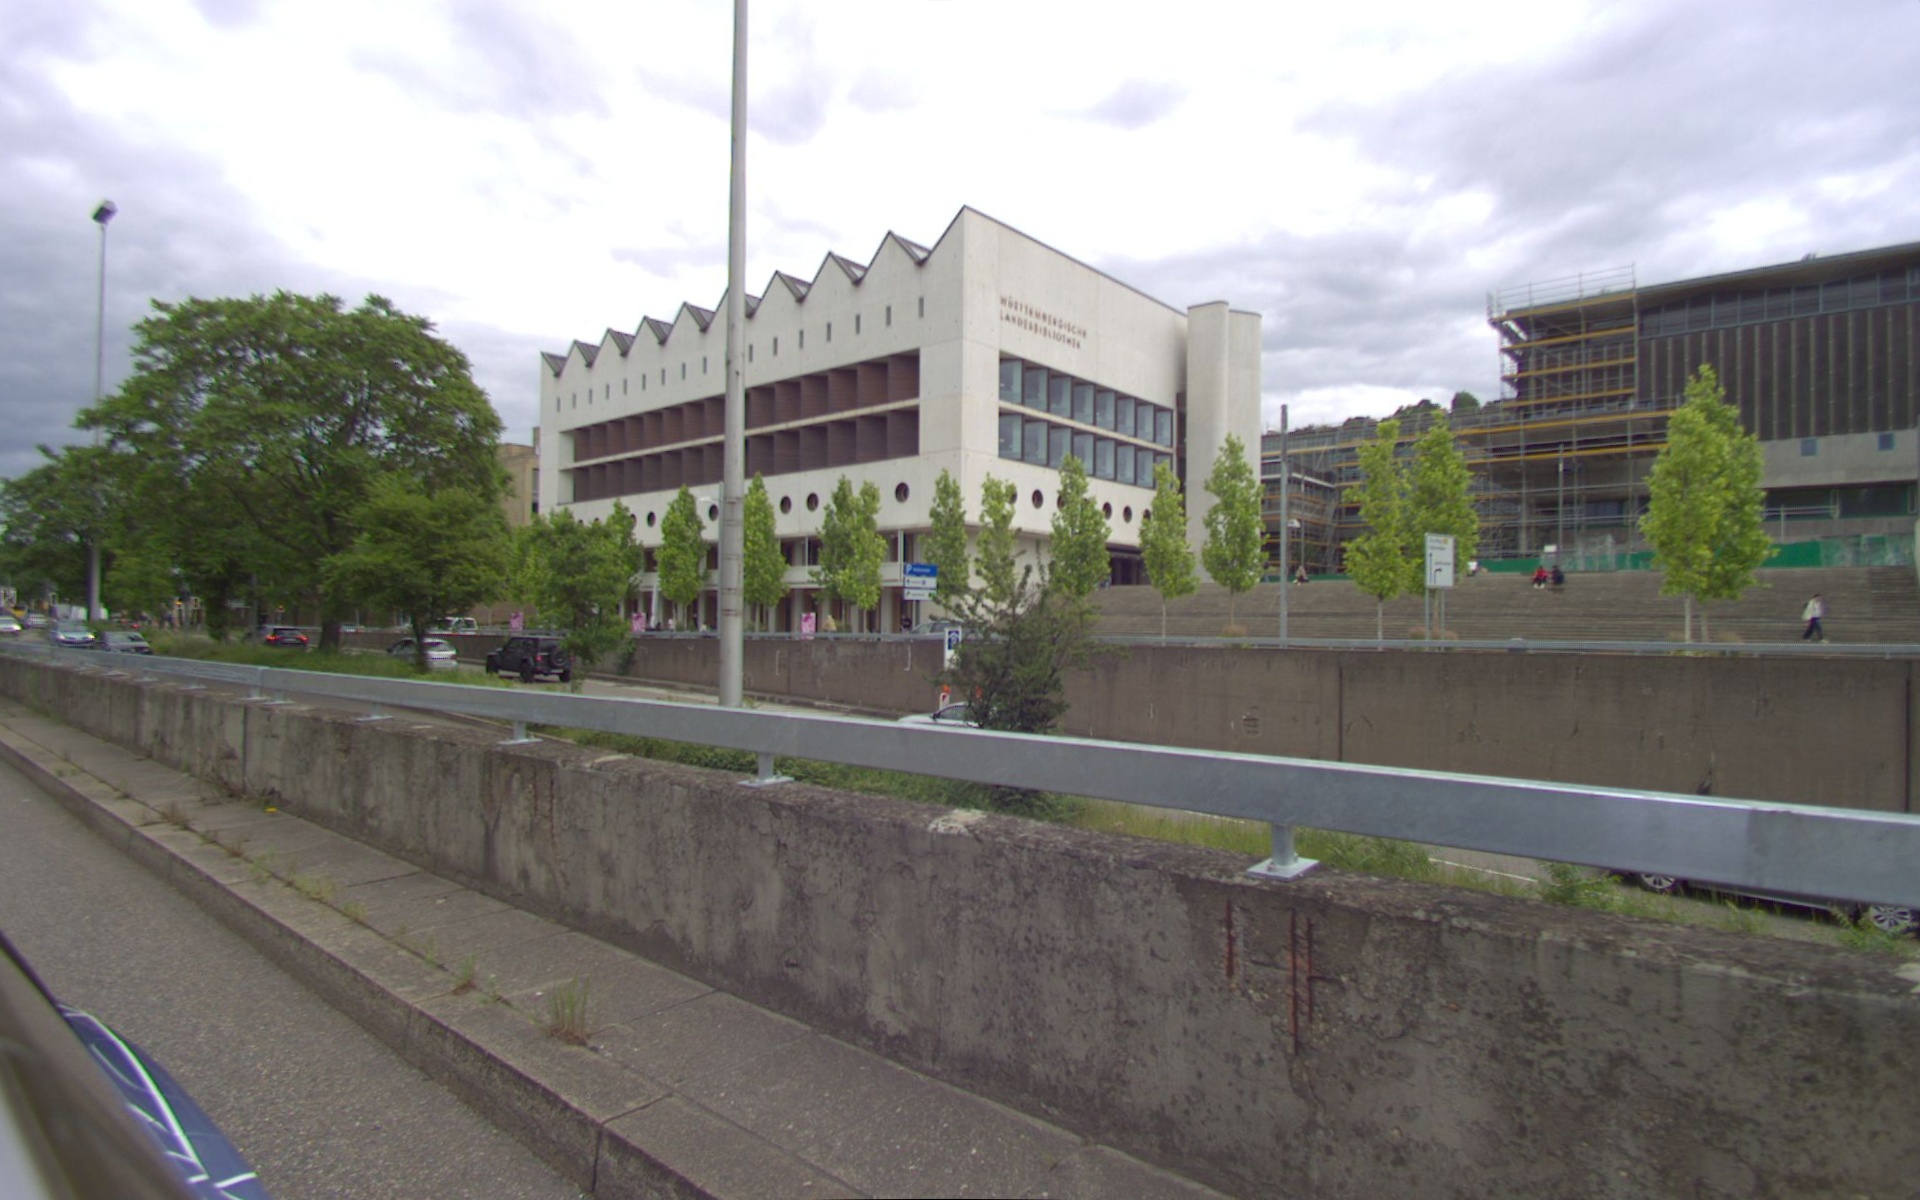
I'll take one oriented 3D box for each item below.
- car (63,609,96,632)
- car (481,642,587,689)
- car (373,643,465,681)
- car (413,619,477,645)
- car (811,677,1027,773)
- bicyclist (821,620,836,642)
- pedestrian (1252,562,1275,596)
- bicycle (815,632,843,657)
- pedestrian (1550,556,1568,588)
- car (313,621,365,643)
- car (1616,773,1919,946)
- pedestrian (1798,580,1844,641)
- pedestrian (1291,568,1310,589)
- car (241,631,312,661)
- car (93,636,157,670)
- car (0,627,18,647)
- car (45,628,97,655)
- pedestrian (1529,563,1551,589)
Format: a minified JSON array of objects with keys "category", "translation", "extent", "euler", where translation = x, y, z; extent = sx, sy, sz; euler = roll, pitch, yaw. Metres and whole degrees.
[{"category":"car","translation":[-74.053,1.688,85.107],"extent":[3.999,1.868,1.588],"euler":[0,1,42]},{"category":"car","translation":[-17.719,2.693,42.003],"extent":[4.514,1.657,2.133],"euler":[1,-3,40]},{"category":"car","translation":[-22.237,2.547,41.566],"extent":[3.998,1.409,1.973],"euler":[-1,-5,41]},{"category":"car","translation":[-32.929,2.012,64.678],"extent":[4.485,1.640,1.931],"euler":[-1,-1,38]},{"category":"car","translation":[-0.959,2.608,21.883],"extent":[4.515,1.687,1.973],"euler":[-1,-5,41]},{"category":"bicyclist","translation":[-6.896,1.619,53.109],"extent":[0.643,1.169,0.398],"euler":[-1,0,39]},{"category":"pedestrian","translation":[18.832,-1.297,62.754],"extent":[1.079,2.029,0.940],"euler":[-1,0,35]},{"category":"bicycle","translation":[-6.896,2.340,53.120],"extent":[1.697,1.282,0.398],"euler":[-1,0,39]},{"category":"pedestrian","translation":[26.923,-1.249,45.516],"extent":[0.623,1.248,0.665],"euler":[-1,22,34]},{"category":"car","translation":[-47.154,2.396,76.797],"extent":[4.485,1.640,1.931],"euler":[-1,-1,38]},{"category":"car","translation":[12.389,3.754,14.865],"extent":[4.388,1.625,1.851],"euler":[3,-1,40]},{"category":"pedestrian","translation":[29.104,0.366,34.223],"extent":[0.729,2.029,0.794],"euler":[-1,-3,-9]},{"category":"pedestrian","translation":[18.226,-1.164,54.153],"extent":[0.767,0.950,0.718],"euler":[2,21,34]},{"category":"car","translation":[-34.691,2.318,51.352],"extent":[3.998,1.409,1.973],"euler":[-1,-5,41]},{"category":"car","translation":[-37.370,2.339,45.256],"extent":[4.089,1.425,1.539],"euler":[-1,-1,40]},{"category":"car","translation":[-72.709,2.800,76.612],"extent":[4.089,1.425,1.635],"euler":[-1,-1,40]},{"category":"car","translation":[-49.139,2.256,55.904],"extent":[4.088,1.425,1.539],"euler":[-1,-1,39]},{"category":"pedestrian","translation":[26.355,-1.082,46.013],"extent":[0.767,0.949,0.719],"euler":[-3,22,35]}]
